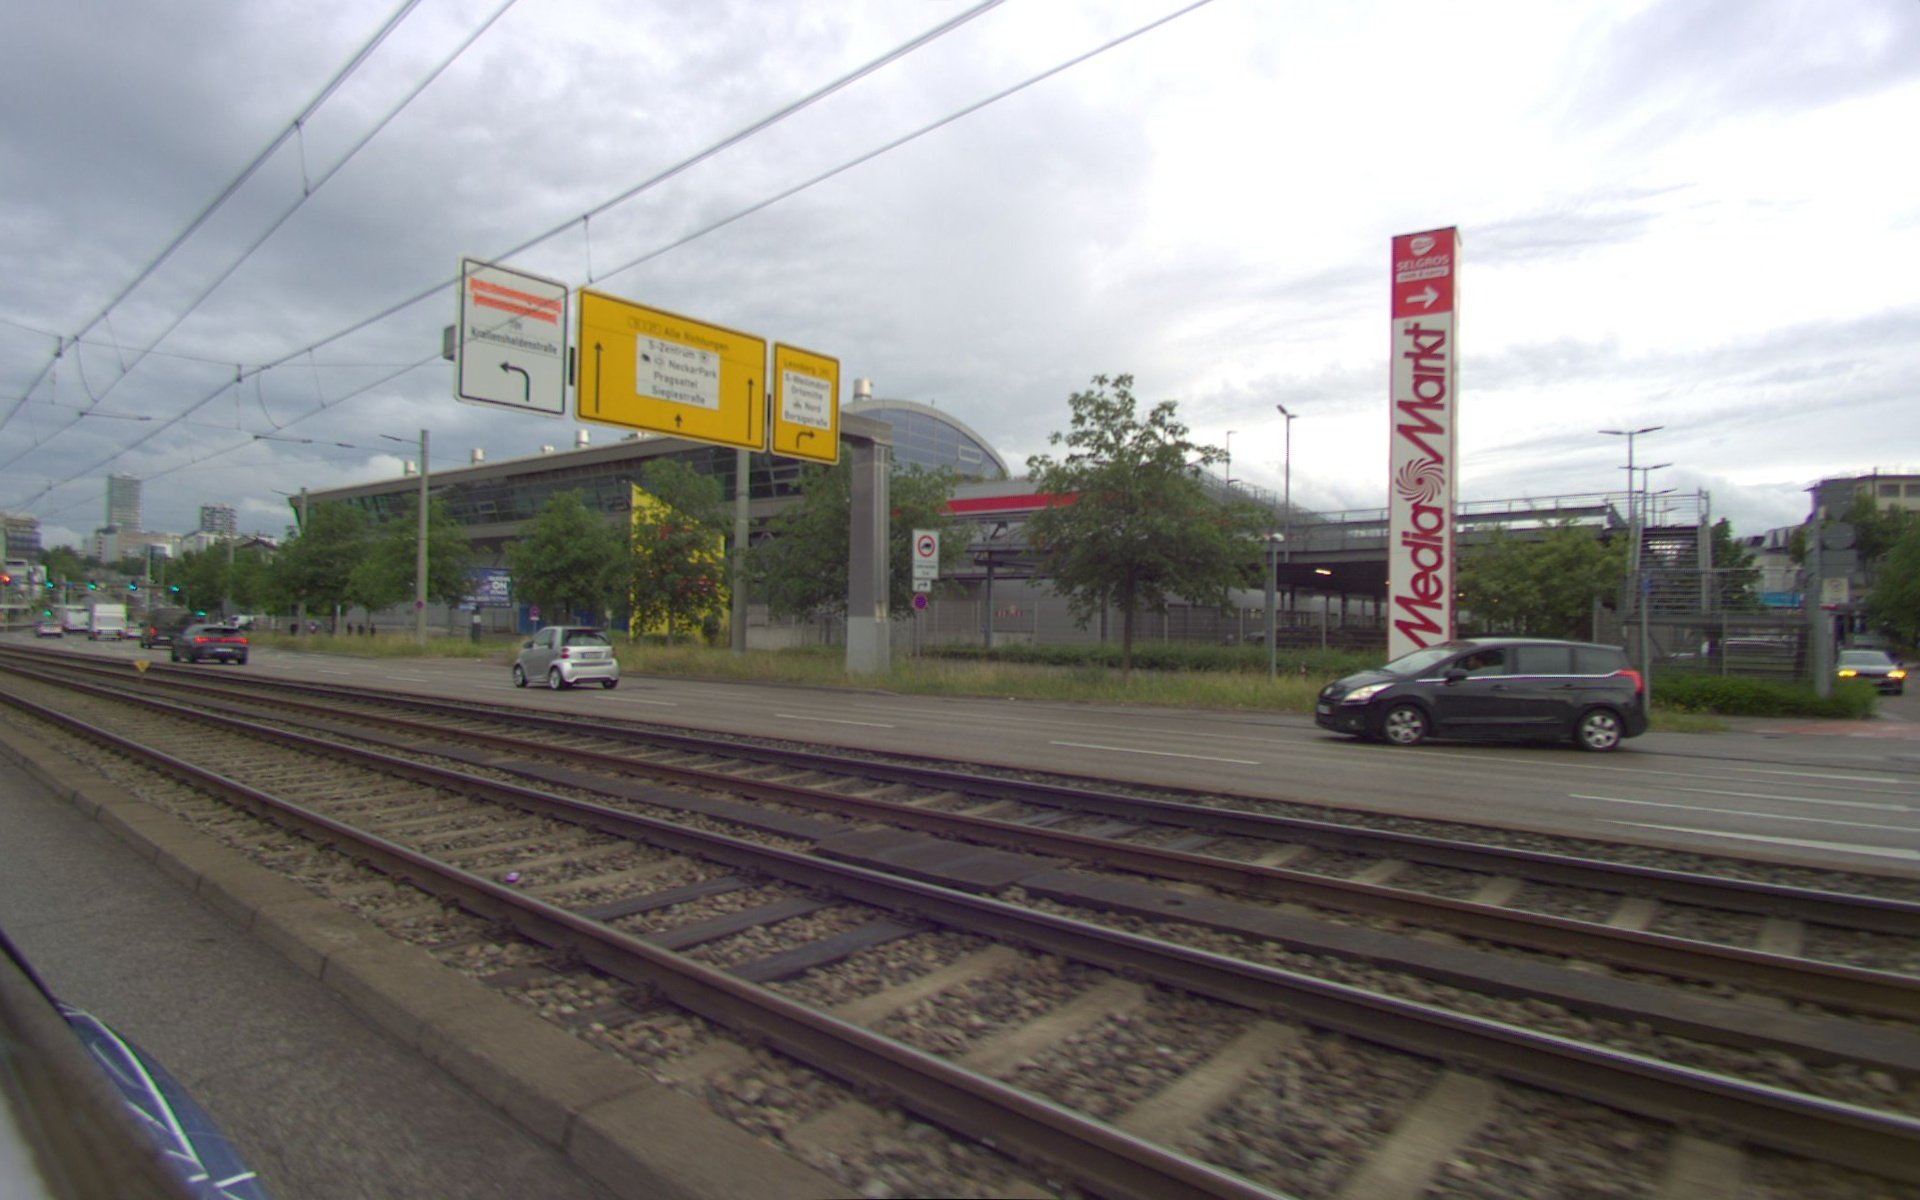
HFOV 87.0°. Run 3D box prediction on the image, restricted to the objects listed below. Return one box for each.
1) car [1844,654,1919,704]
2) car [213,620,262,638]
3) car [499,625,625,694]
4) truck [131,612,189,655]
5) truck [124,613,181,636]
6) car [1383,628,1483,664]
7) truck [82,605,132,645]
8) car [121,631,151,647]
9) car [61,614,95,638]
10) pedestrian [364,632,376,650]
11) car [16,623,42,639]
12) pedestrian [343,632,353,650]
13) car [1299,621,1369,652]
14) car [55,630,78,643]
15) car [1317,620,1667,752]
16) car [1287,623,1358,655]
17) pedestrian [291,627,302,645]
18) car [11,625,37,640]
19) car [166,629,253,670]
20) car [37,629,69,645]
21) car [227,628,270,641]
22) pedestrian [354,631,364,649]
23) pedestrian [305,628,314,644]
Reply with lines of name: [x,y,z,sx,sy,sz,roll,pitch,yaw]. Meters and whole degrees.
car: [29.423,2.543,32.293,1.729,1.476,3.946,-1,-5,40]
car: [-97.489,3.950,136.545,1.992,2.350,5.013,-1,-3,29]
car: [-9.801,1.440,24.880,2.948,1.548,1.582,0,-4,40]
truck: [-50.450,2.088,63.778,2.212,2.584,7.020,2,-2,-43]
truck: [-141.809,4.372,177.882,4.023,3.785,10.885,1,-2,-17]
car: [19.968,1.911,42.902,1.636,1.292,4.119,-1,0,-13]
truck: [-76.861,2.206,91.172,2.696,3.383,7.157,5,-3,-44]
car: [-80.736,3.808,99.137,1.876,1.500,4.425,3,-3,-45]
car: [-99.221,2.950,113.807,2.404,2.519,6.551,4,-4,-44]
pedestrian: [-47.919,3.337,82.200,0.744,1.450,0.602,-1,0,37]
car: [-108.343,3.622,117.786,4.362,1.669,1.887,-2,-5,44]
pedestrian: [-51.241,3.397,84.732,0.651,1.467,0.507,-1,0,31]
car: [25.377,2.494,68.742,3.997,2.029,1.973,-1,-3,41]
car: [-115.768,4.702,131.105,4.510,1.684,1.918,-2,-4,45]
car: [7.798,1.248,15.180,4.153,1.749,2.000,1,-3,0]
car: [23.972,2.553,66.999,3.997,2.029,1.973,-1,-3,41]
pedestrian: [-61.236,3.314,93.431,0.626,1.575,0.675,-1,0,41]
car: [-117.290,4.063,126.801,4.678,1.745,1.972,-2,-4,43]
car: [-28.165,1.831,37.924,4.235,1.440,1.783,-2,-4,42]
car: [-86.924,3.547,96.991,4.441,1.510,1.786,-2,-5,43]
car: [-93.880,4.535,133.586,1.908,1.729,4.205,-1,-3,34]
pedestrian: [-50.535,3.379,85.153,0.651,1.467,0.447,-1,0,31]
pedestrian: [-62.987,3.522,98.044,0.758,1.509,0.542,-1,0,44]
